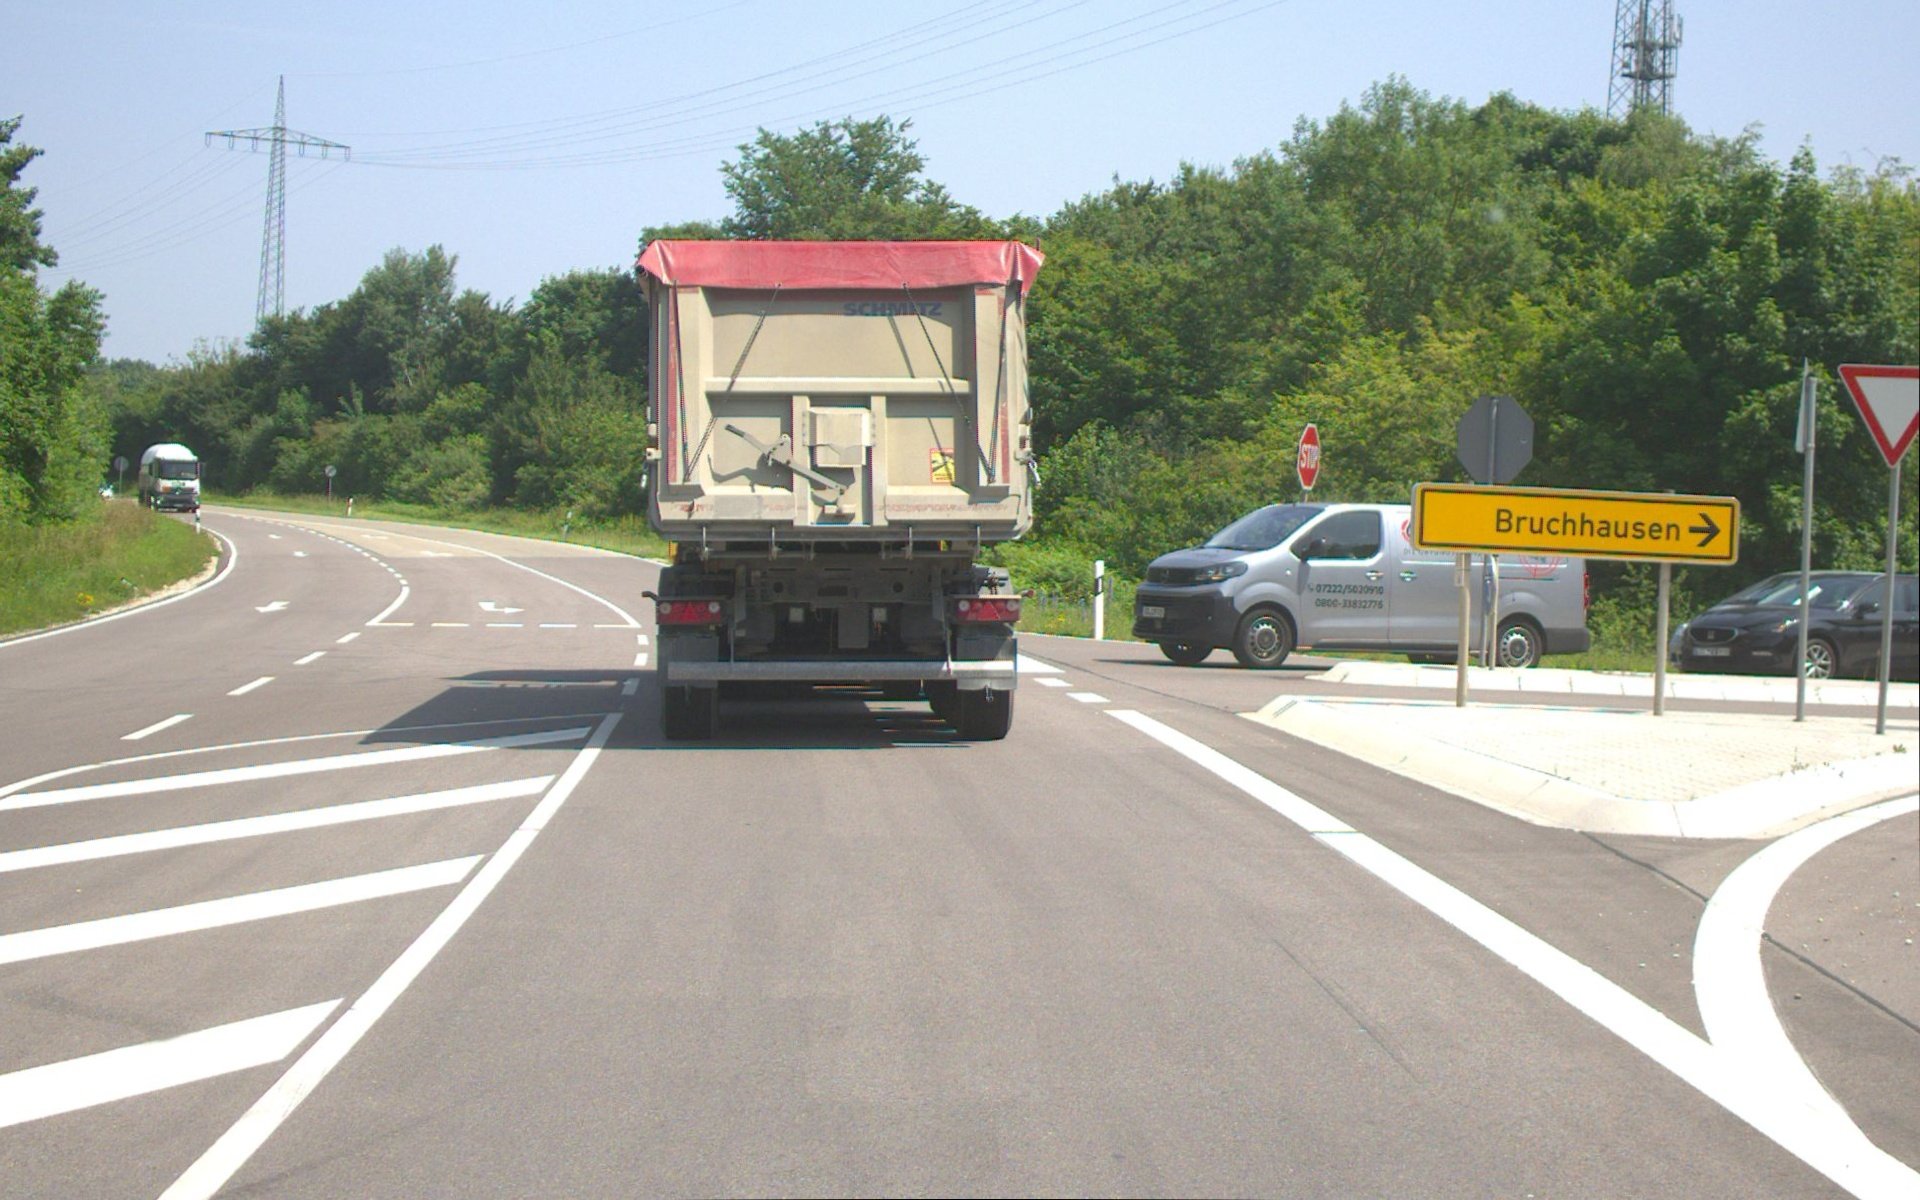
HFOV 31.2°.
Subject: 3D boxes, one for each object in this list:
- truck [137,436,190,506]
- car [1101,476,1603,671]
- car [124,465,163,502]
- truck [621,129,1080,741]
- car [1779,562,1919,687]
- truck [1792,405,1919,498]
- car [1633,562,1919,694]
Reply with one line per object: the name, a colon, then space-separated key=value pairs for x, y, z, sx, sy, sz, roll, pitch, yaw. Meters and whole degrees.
truck: x=-42.904 y=-6.931 z=185.254 sx=2.626 sy=3.658 sz=8.799 roll=0 pitch=2 yaw=-12
car: x=4.396 y=-0.282 z=38.499 sx=5.211 sy=1.900 sz=2.014 roll=3 pitch=0 yaw=-24
car: x=-40.772 y=-5.789 z=171.581 sx=1.842 sy=1.773 sz=4.895 roll=0 pitch=1 yaw=-14
truck: x=-1.294 y=-1.247 z=28.329 sx=2.893 sy=3.948 sz=11.936 roll=0 pitch=2 yaw=-6
car: x=12.993 y=0.295 z=45.520 sx=3.980 sy=1.574 sz=1.846 roll=0 pitch=1 yaw=-30
truck: x=43.476 y=-6.452 z=149.031 sx=4.436 sy=3.905 sz=16.718 roll=0 pitch=1 yaw=-28
car: x=10.476 y=0.331 z=41.311 sx=4.548 sy=1.469 sz=1.869 roll=0 pitch=1 yaw=-30
